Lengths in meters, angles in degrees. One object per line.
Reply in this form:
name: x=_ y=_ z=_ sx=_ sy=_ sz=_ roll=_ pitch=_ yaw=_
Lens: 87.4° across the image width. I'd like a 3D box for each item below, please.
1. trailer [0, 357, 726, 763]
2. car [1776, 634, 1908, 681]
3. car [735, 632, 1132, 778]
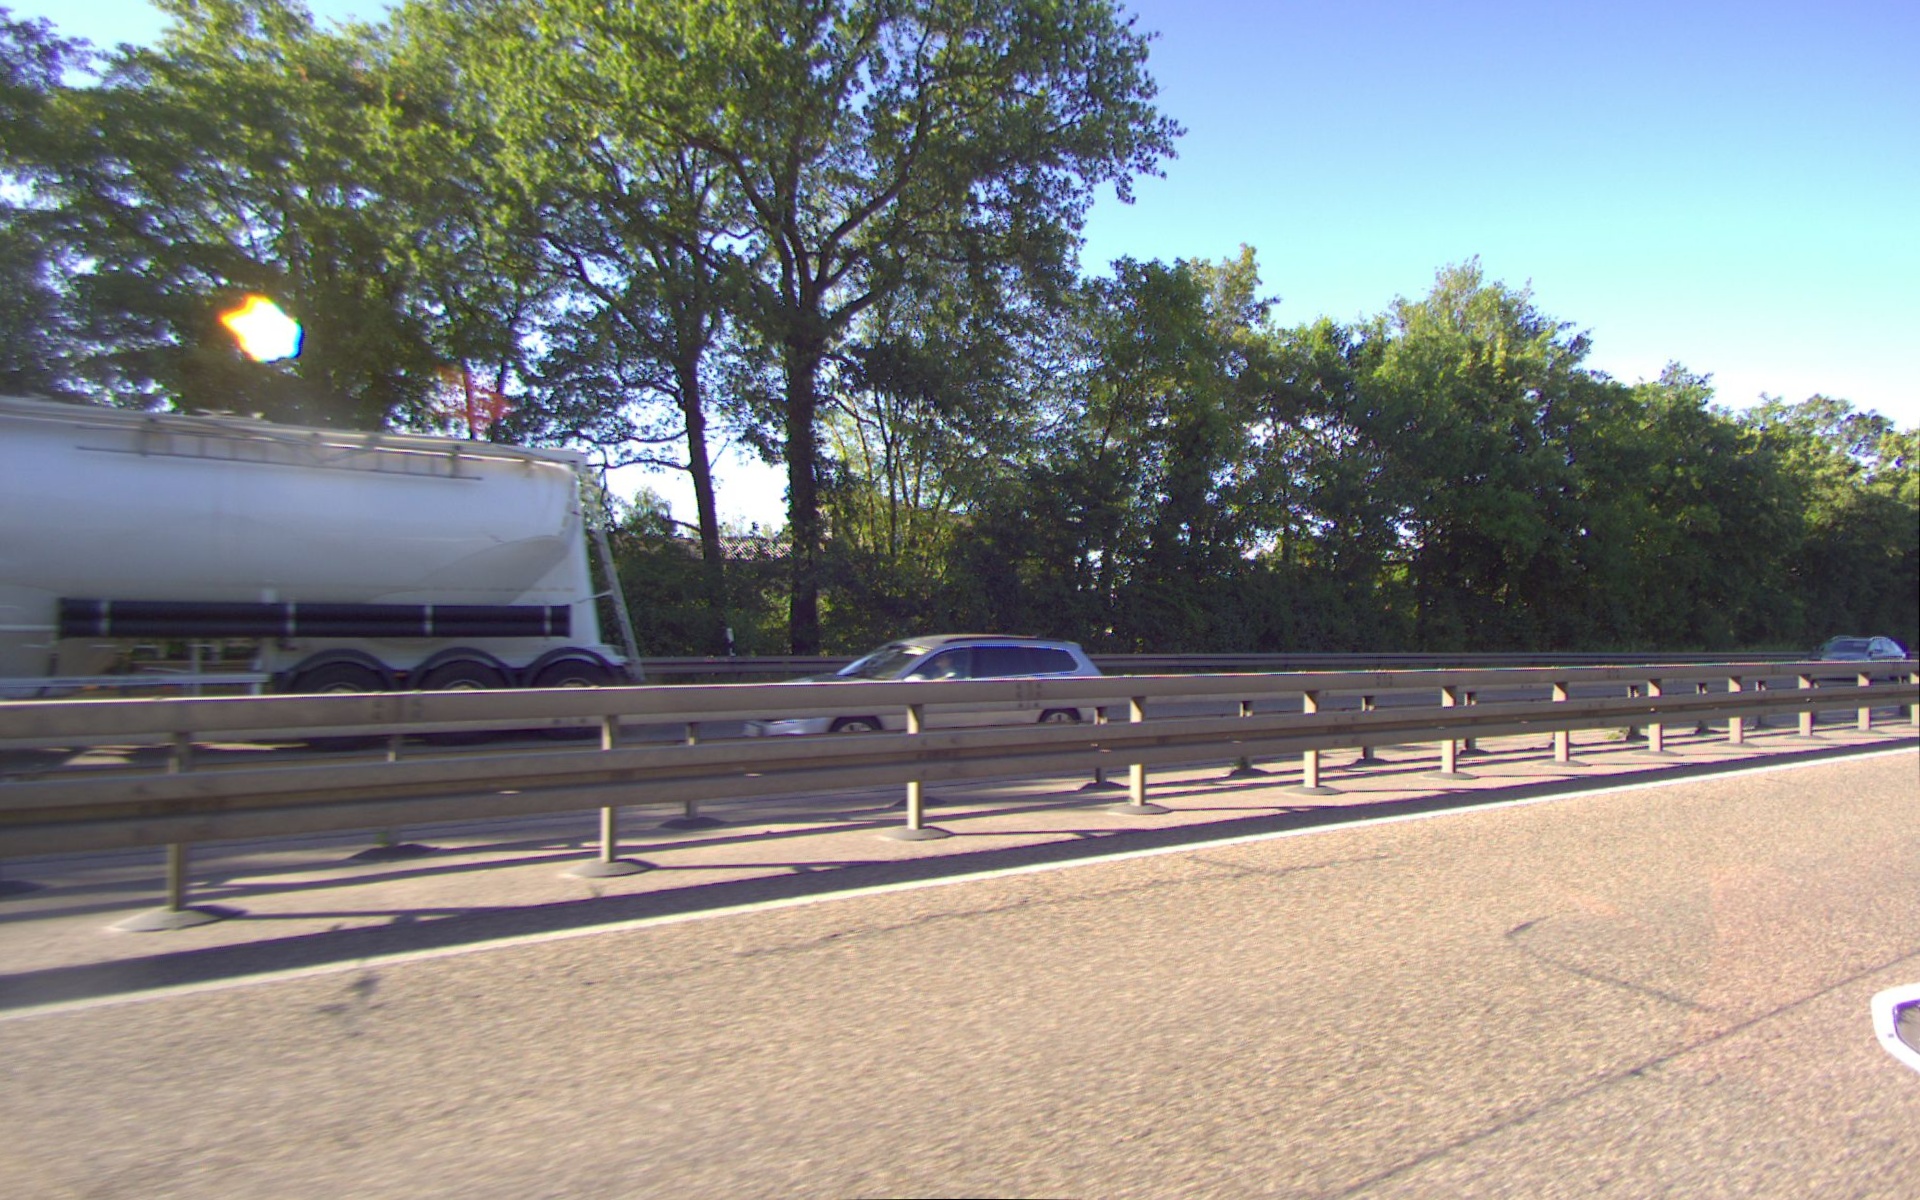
trailer: x=-8.644 y=-0.333 z=12.328 sx=10.844 sy=4.050 sz=3.038 roll=1 pitch=-1 yaw=-30
car: x=30.955 y=1.983 z=35.224 sx=4.927 sy=1.486 sz=2.061 roll=2 pitch=-1 yaw=-30
car: x=-0.235 y=1.161 z=12.390 sx=4.644 sy=1.486 sz=1.789 roll=1 pitch=-2 yaw=-32
